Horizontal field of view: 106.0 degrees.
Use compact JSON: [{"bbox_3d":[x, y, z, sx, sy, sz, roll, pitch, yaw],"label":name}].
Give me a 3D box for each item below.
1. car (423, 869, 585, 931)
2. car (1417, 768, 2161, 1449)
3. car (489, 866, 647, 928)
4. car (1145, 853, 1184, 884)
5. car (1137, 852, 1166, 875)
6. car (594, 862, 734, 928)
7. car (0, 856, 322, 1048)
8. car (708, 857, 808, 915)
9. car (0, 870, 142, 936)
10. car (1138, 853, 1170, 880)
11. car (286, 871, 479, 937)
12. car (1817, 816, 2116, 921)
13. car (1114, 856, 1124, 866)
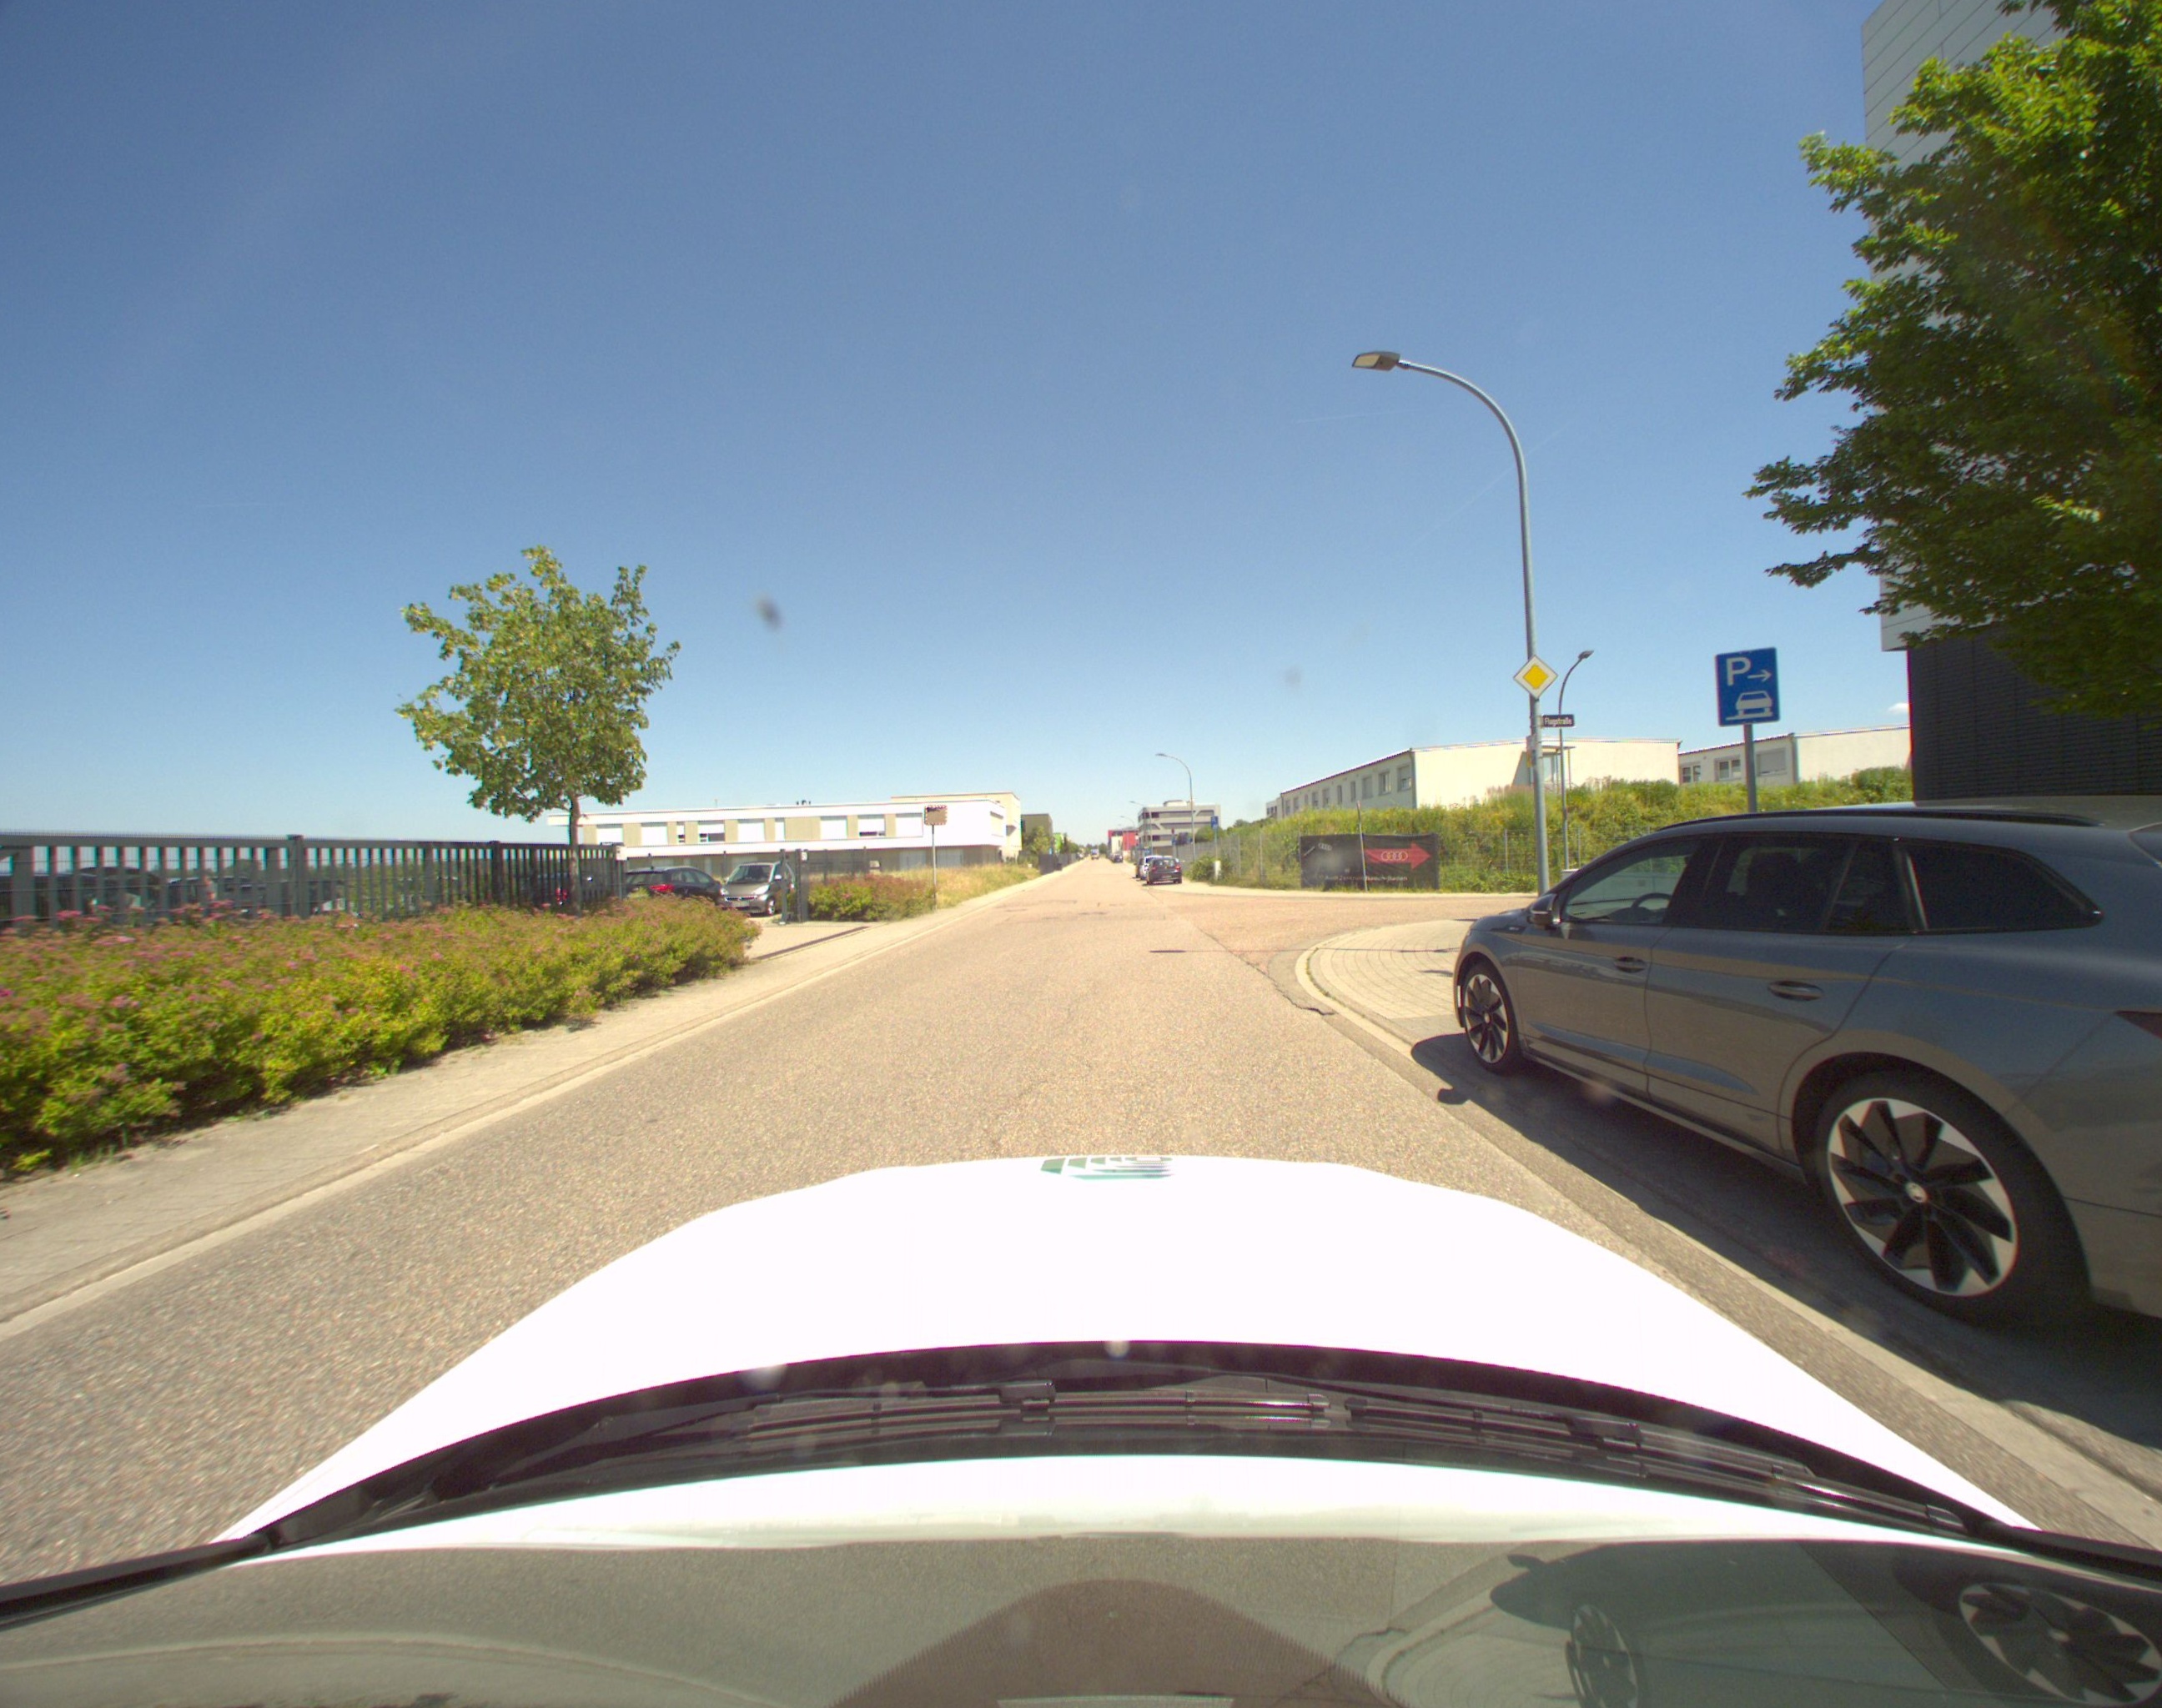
[{"bbox_3d":[-15.912,1.218,22.725,1.667,1.440,3.998,-2,0,-1],"label":"car"},{"bbox_3d":[3.498,0.552,3.919,1.798,1.662,4.608,-4,0,0],"label":"car"},{"bbox_3d":[-13.864,1.104,22.333,1.796,1.440,3.998,-2,0,-1],"label":"car"},{"bbox_3d":[4.392,0.754,43.308,1.899,1.448,4.004,-4,0,4],"label":"car"},{"bbox_3d":[5.063,0.654,58.567,1.899,1.546,4.004,-4,0,4],"label":"car"},{"bbox_3d":[-11.430,1.060,22.659,1.820,1.541,3.998,-2,0,-1],"label":"car"},{"bbox_3d":[-10.689,0.914,8.257,1.985,1.723,4.094,-1,0,3],"label":"car"},{"bbox_3d":[-9.271,0.868,23.600,1.695,1.520,2.996,-2,0,-1],"label":"car"},{"bbox_3d":[-28.160,1.301,21.682,1.667,1.605,3.998,-1,0,-1],"label":"car"},{"bbox_3d":[4.631,0.767,52.220,1.899,1.546,4.004,-4,0,4],"label":"car"},{"bbox_3d":[-18.329,1.256,21.638,1.667,1.440,3.998,-2,0,-1],"label":"car"},{"bbox_3d":[17.021,0.281,16.006,1.710,1.766,4.006,-1,-1,5],"label":"car"},{"bbox_3d":[7.130,1.307,154.146,1.769,1.728,4.001,0,0,1],"label":"car"}]
